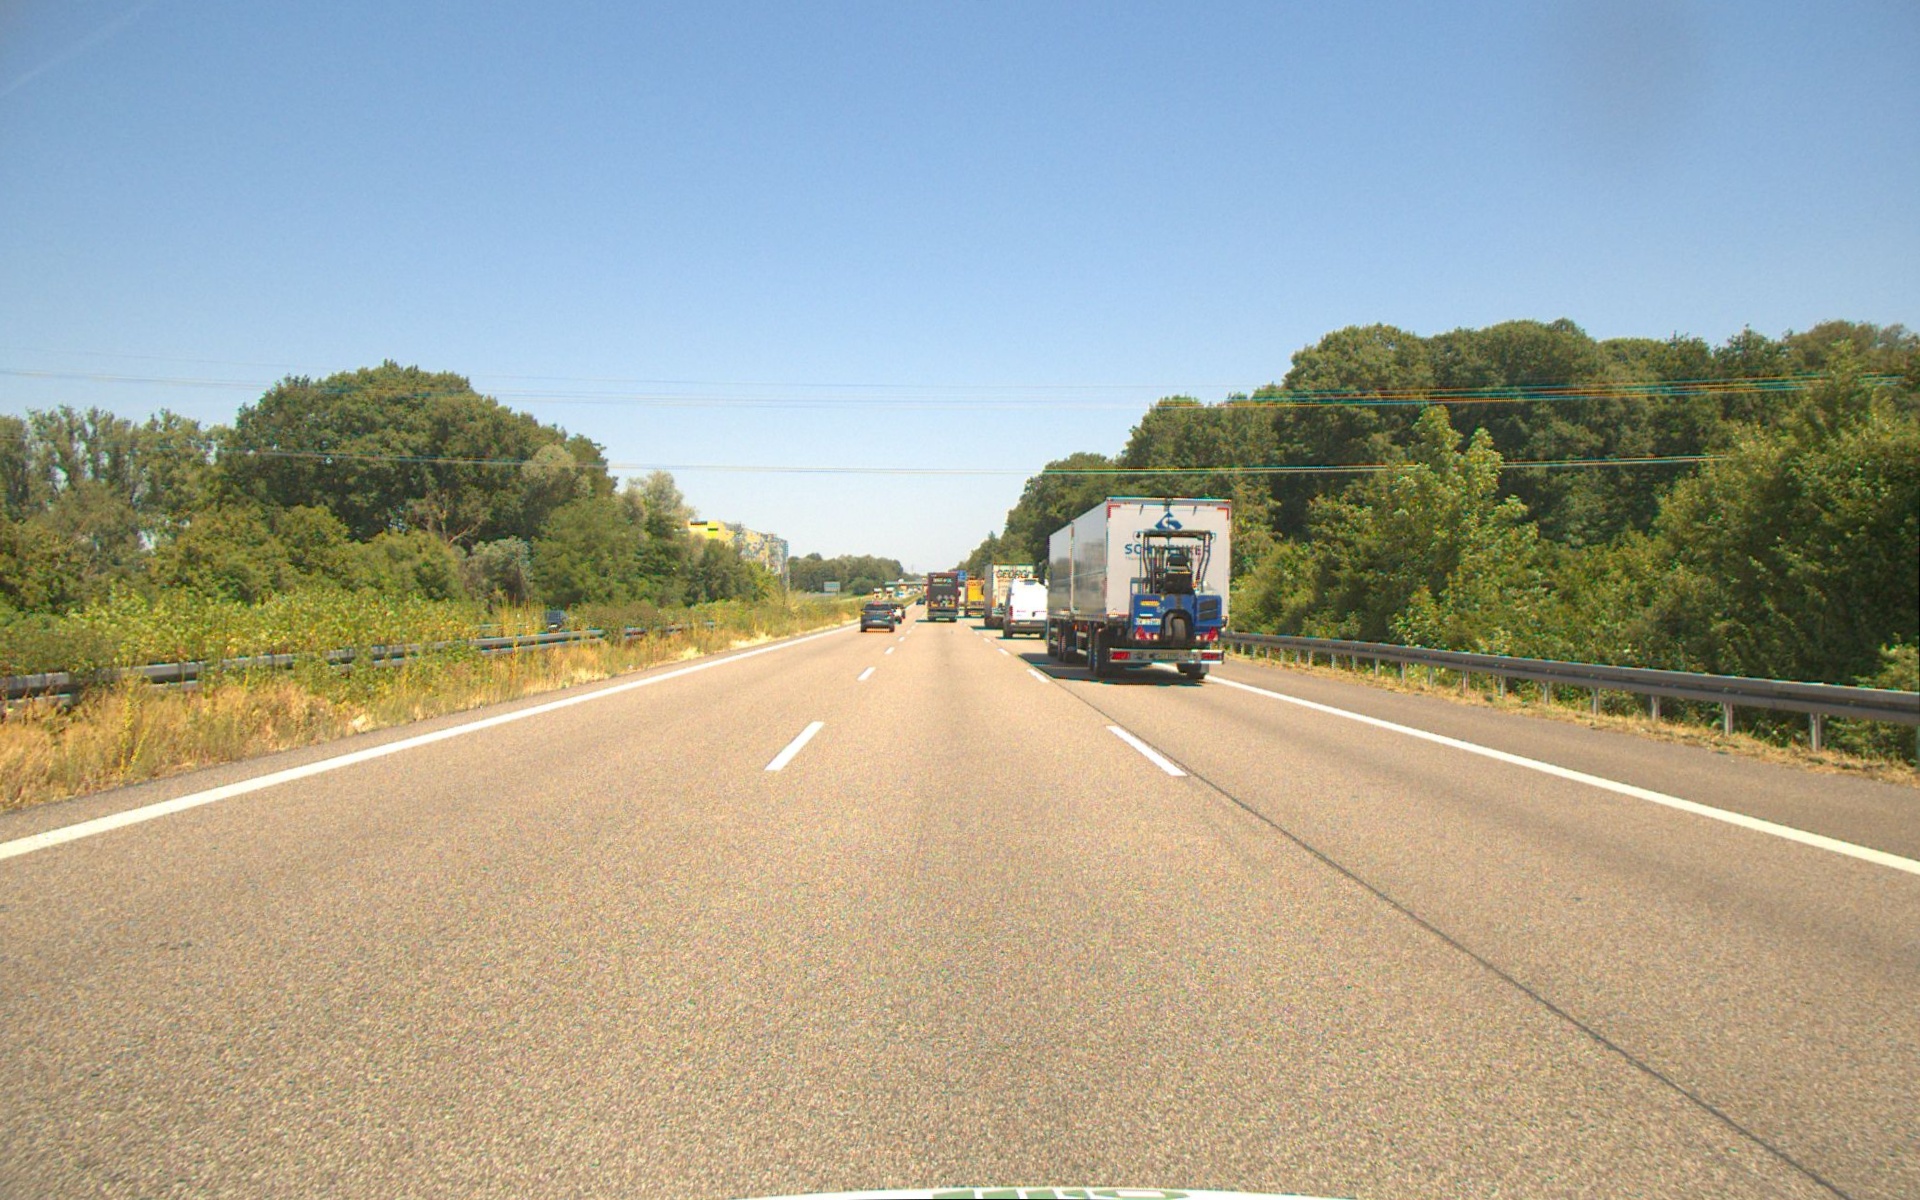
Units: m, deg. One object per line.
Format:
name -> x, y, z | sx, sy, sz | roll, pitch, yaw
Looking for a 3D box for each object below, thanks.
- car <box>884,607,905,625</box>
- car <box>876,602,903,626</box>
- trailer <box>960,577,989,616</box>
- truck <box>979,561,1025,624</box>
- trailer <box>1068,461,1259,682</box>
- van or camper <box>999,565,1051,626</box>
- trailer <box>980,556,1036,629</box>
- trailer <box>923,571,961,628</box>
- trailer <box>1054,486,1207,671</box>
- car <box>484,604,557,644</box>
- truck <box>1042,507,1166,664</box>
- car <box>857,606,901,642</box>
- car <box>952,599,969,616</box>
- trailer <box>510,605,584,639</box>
car -> -6.229, 1.526, 158.053 | 1.902, 1.736, 3.999 | 0, 0, -1
car -> -5.311, 1.048, 124.238 | 1.953, 1.758, 4.129 | 0, 0, -2
trailer -> 1.543, -0.362, 177.493 | 2.777, 4.023, 11.681 | 0, 0, -1
truck -> 2.832, -0.491, 113.779 | 2.941, 4.197, 5.251 | 0, 0, -1
trailer -> 4.128, -0.526, 35.364 | 2.885, 4.134, 8.126 | 1, 0, -1
van or camper -> 2.938, -0.195, 76.338 | 1.981, 2.683, 6.485 | 1, 0, -1
trailer -> 2.977, -0.460, 106.729 | 2.933, 4.364, 13.415 | 1, 0, -1
trailer -> -1.647, -0.040, 142.124 | 3.043, 4.585, 14.891 | 1, 0, -1
trailer -> 4.041, -0.477, 40.830 | 2.860, 4.112, 7.315 | 1, 0, -1
car -> -21.957, 1.178, 82.838 | 2.404, 1.905, 5.027 | 0, 0, -1
truck -> 3.974, -0.375, 47.139 | 2.830, 4.101, 6.868 | 1, 0, -1
car -> -4.275, 1.238, 88.321 | 2.171, 1.821, 5.392 | 0, 0, -1
car -> 0.073, 0.897, 198.305 | 1.953, 2.049, 3.999 | -1, 0, -1
trailer -> -22.058, 1.145, 88.548 | 2.438, 1.713, 6.488 | 0, 0, -1
